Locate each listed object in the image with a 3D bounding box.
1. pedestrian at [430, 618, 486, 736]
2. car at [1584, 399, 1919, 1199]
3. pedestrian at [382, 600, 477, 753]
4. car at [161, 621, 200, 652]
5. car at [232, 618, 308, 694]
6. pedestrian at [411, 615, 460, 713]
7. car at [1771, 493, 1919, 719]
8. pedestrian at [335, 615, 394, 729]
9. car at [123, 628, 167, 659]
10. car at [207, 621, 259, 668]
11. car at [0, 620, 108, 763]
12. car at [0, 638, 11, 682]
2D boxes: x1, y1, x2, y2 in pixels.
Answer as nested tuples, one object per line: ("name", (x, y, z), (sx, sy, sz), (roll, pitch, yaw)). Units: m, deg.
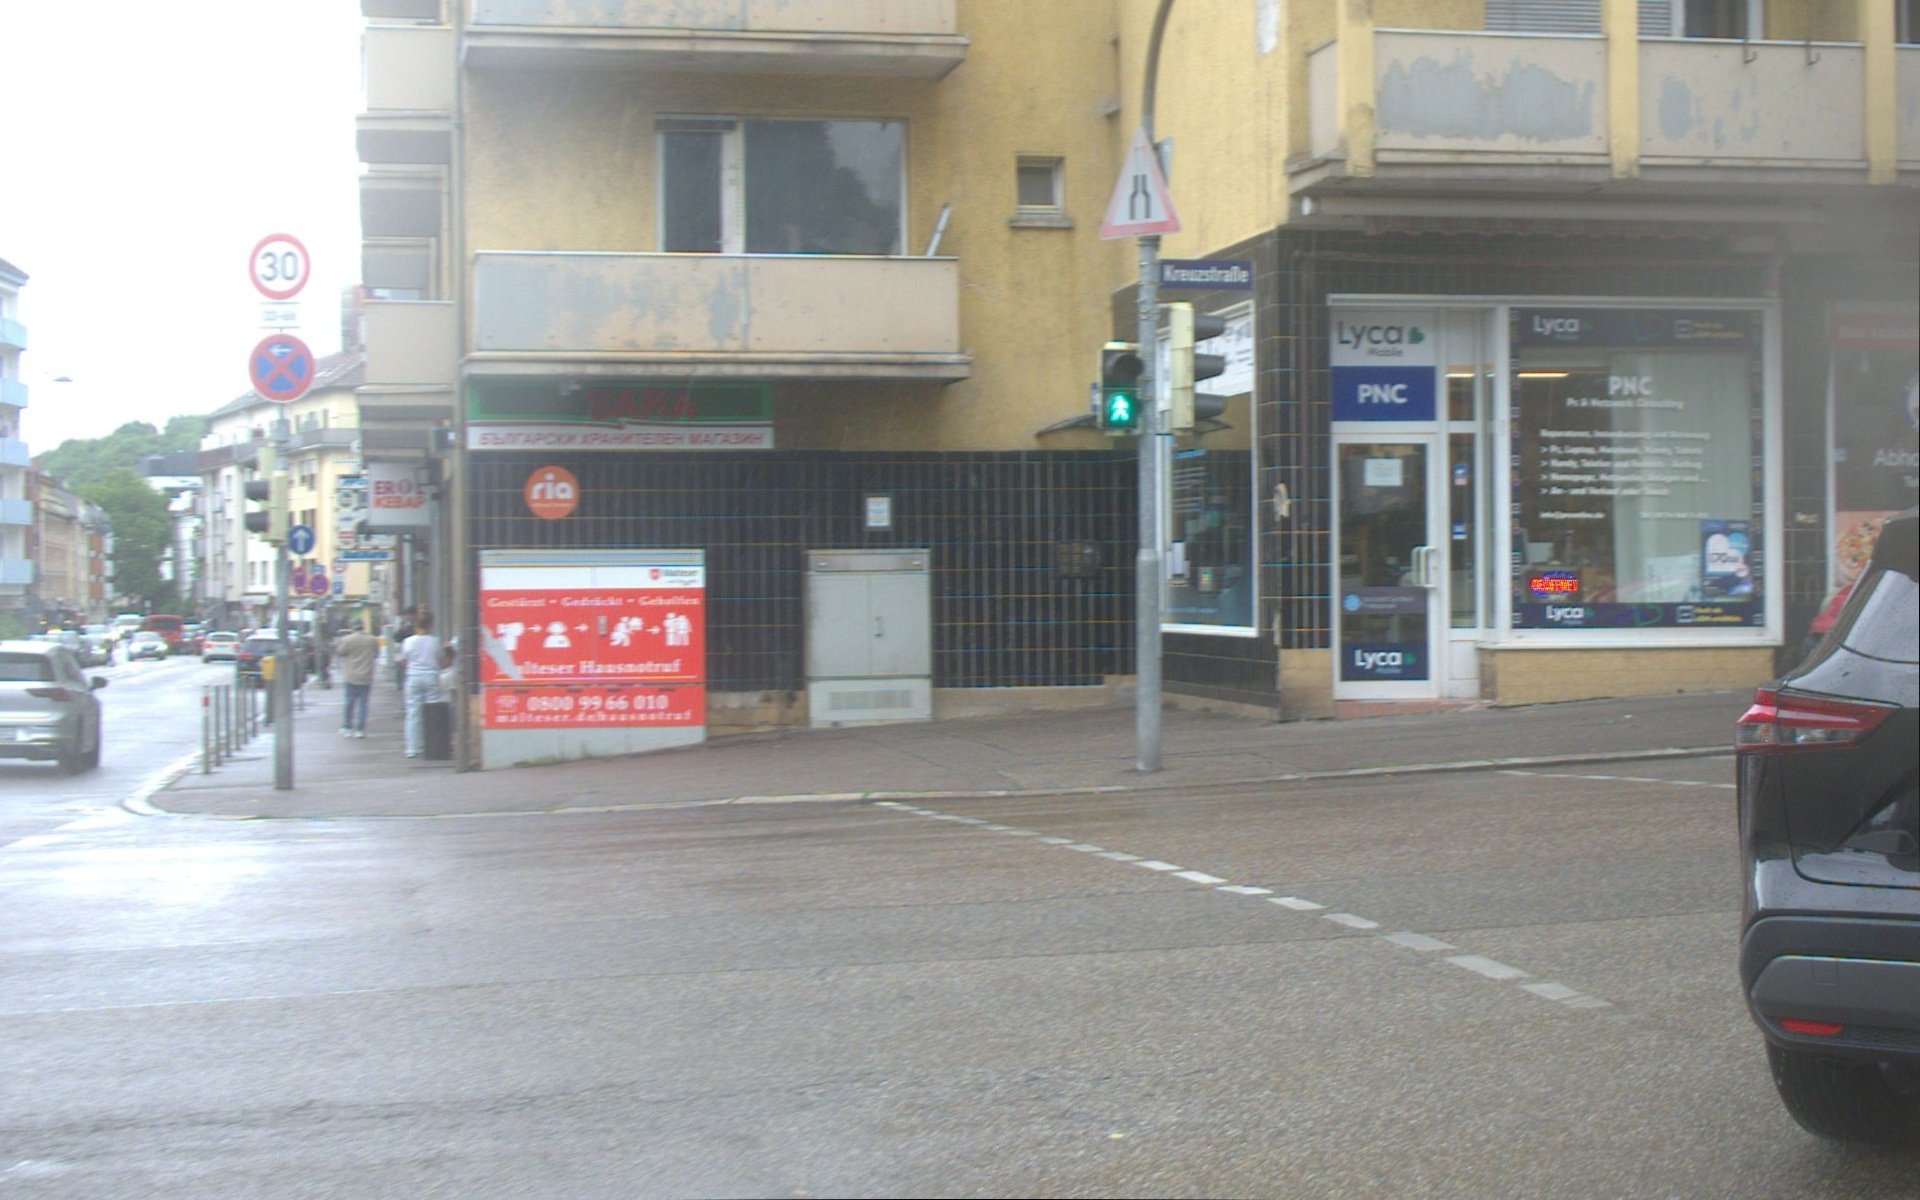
("pedestrian", (-5.484, 0.840, 37.540), (0.463, 1.229, 0.554), (-6, 1, -10))
("car", (3.358, 0.342, 8.286), (1.964, 1.647, 3.992), (-2, 1, 38))
("pedestrian", (-5.738, 0.813, 37.154), (0.835, 1.553, 0.833), (-6, 1, -11))
("car", (-45.820, 2.129, 202.134), (1.993, 1.632, 4.832), (-2, 1, -11))
("car", (-19.778, 1.579, 98.465), (1.993, 2.007, 4.001), (-3, 1, -12))
("pedestrian", (-8.465, 1.029, 55.515), (0.627, 1.553, 0.706), (0, 0, 5))
("car", (7.903, -0.029, 25.199), (3.470, 1.551, 1.473), (-2, 2, -11))
("pedestrian", (-8.194, 0.992, 47.348), (0.703, 1.553, 0.629), (0, 0, -1))
("car", (-42.096, 2.228, 177.636), (1.993, 1.481, 4.001), (-2, 1, -11))
("car", (-33.019, 2.003, 156.268), (1.993, 2.007, 4.001), (-2, 0, -9))
("car", (-10.454, 0.986, 38.091), (1.766, 1.439, 4.001), (-1, 1, -11))
("car", (-33.917, 2.094, 118.618), (1.993, 1.448, 4.001), (-3, 1, -12))
